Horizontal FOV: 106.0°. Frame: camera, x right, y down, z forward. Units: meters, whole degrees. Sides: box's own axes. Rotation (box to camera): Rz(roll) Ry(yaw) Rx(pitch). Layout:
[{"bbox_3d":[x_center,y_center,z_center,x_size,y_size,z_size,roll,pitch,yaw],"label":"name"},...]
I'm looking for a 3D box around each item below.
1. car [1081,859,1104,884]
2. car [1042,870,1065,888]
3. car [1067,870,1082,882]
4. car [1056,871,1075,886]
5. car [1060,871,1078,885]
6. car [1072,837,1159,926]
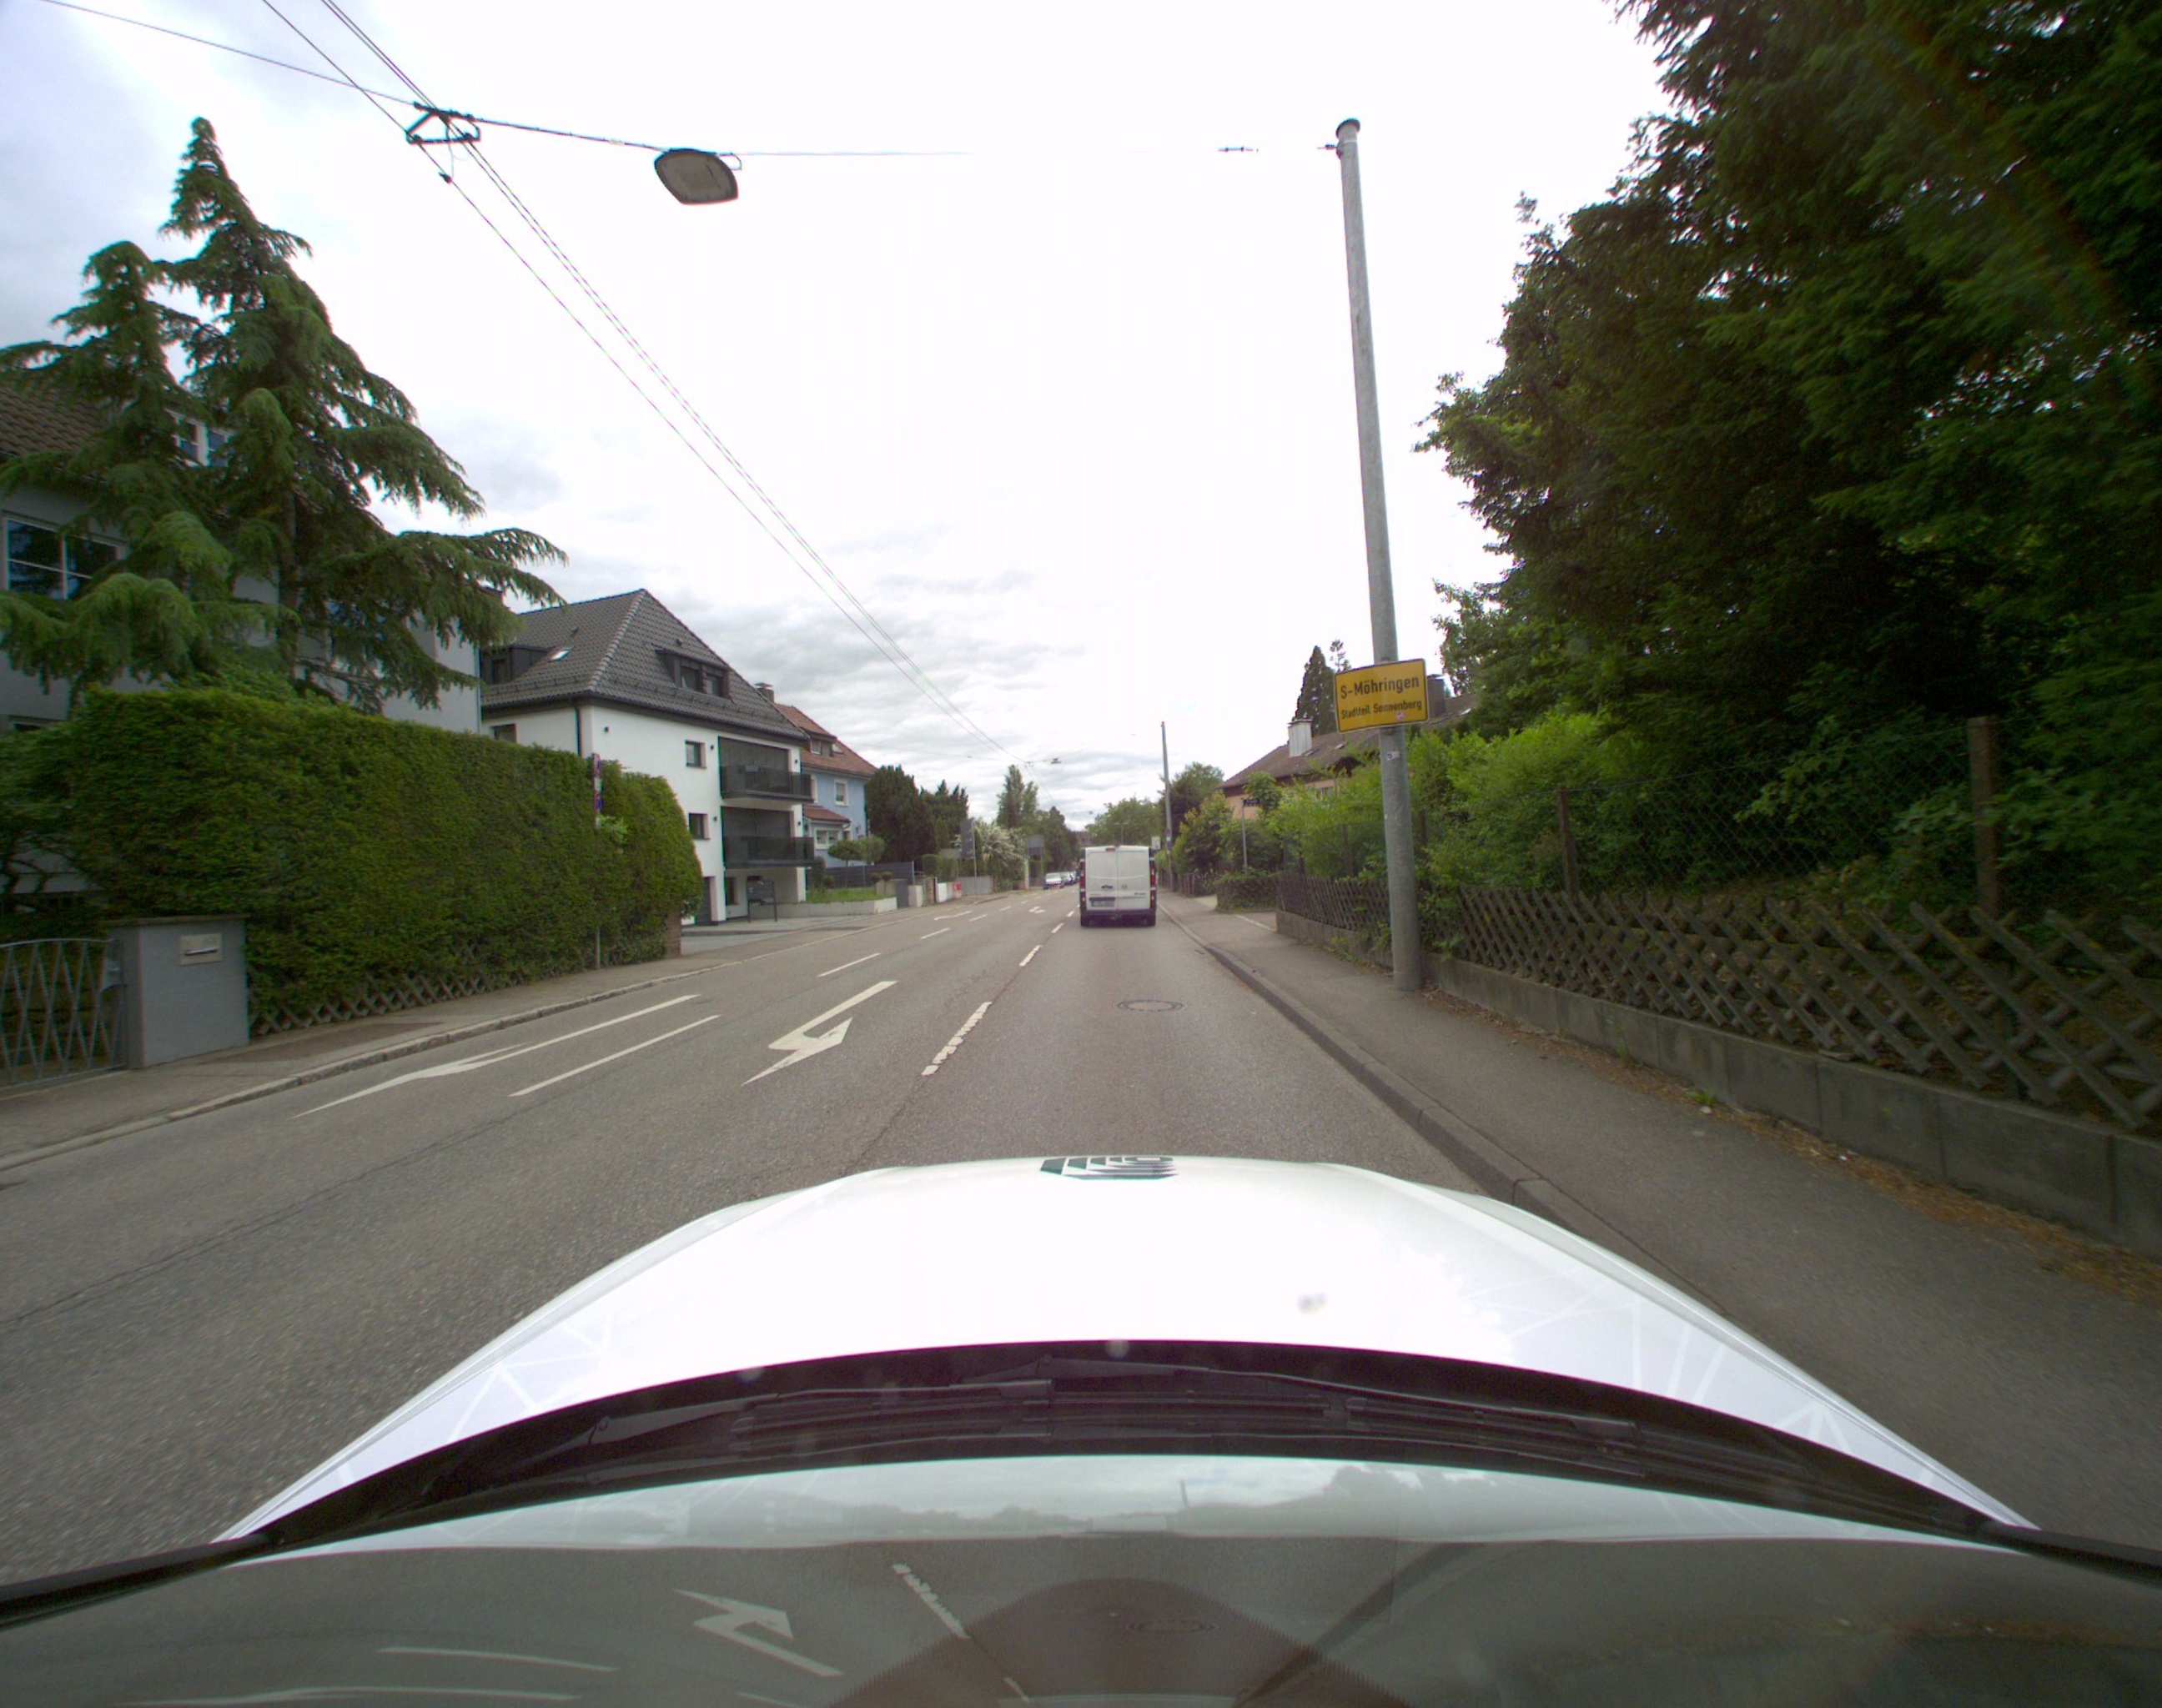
[{"bbox_3d":[1.271,1.906,89.139,2.102,2.498,6.130,-3,0,3],"label":"car"},{"bbox_3d":[-2.539,2.284,75.980,1.803,1.455,4.414,-5,-1,1],"label":"car"},{"bbox_3d":[-0.810,3.001,110.413,1.662,1.488,4.434,-4,-1,3],"label":"car"},{"bbox_3d":[-1.706,2.692,90.524,1.672,1.556,3.973,-5,-2,2],"label":"car"},{"bbox_3d":[-1.421,2.875,98.673,1.882,1.494,4.028,-4,-1,2],"label":"car"},{"bbox_3d":[0.899,0.675,21.529,1.998,2.038,5.012,-1,-1,2],"label":"car"}]
